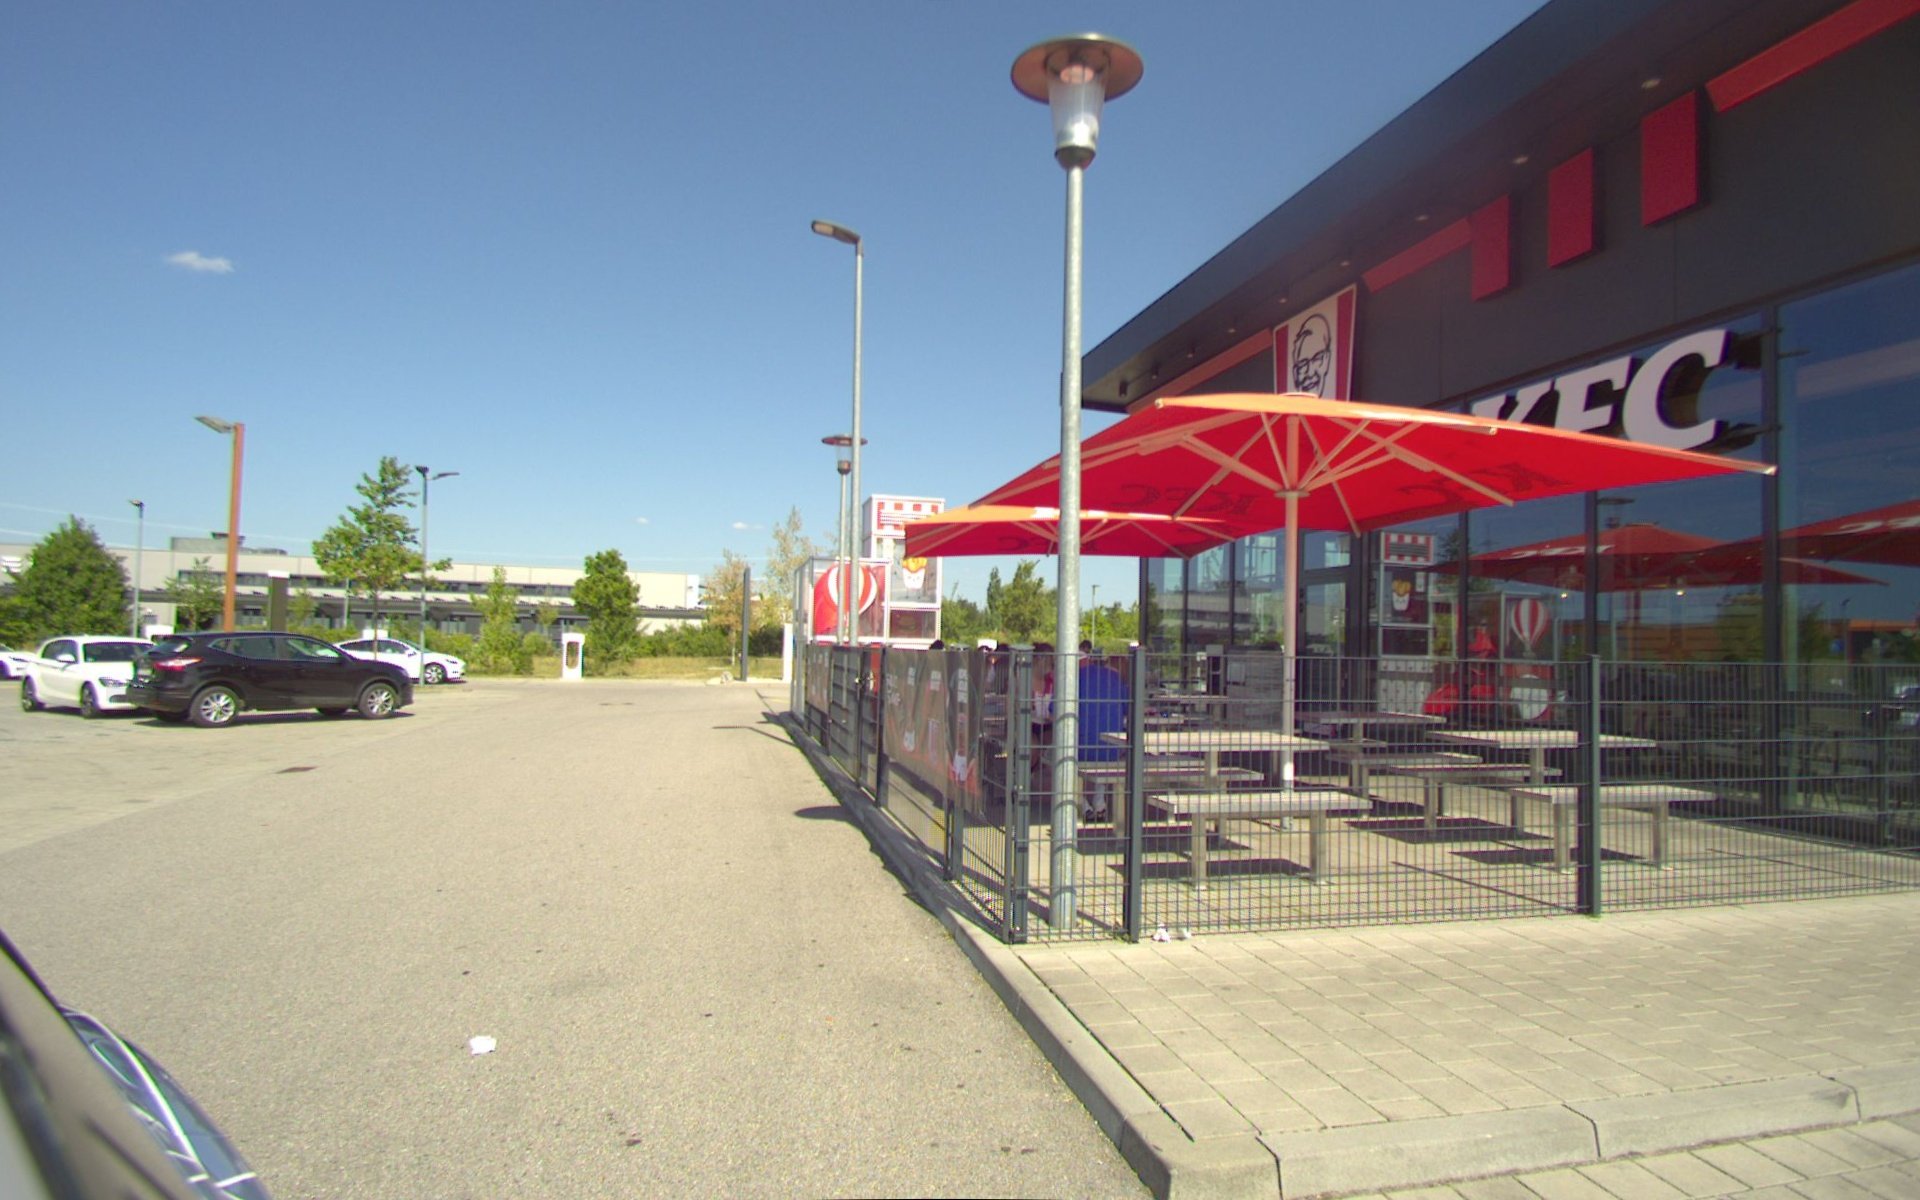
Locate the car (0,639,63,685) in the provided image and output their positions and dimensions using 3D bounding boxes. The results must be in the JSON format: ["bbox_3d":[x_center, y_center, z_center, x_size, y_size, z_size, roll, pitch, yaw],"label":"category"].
[{"bbox_3d":[-32.492,2.003,33.129,4.261,1.490,1.847,1,-3,-13],"label":"car"}]

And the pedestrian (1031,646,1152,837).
[{"bbox_3d":[0.938,0.973,7.266,0.603,1.283,0.626,2,-3,-30],"label":"pedestrian"}]

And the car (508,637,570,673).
[{"bbox_3d":[-21.323,2.788,51.392,1.888,1.763,4.264,1,-3,-9],"label":"car"}]

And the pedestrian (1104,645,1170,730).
[{"bbox_3d":[2.858,1.398,16.396,0.742,1.322,0.947,1,-3,-13],"label":"pedestrian"}]

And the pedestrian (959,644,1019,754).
[{"bbox_3d":[0.351,1.210,12.568,0.655,1.314,0.688,1,-3,-5],"label":"pedestrian"}]

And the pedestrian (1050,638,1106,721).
[{"bbox_3d":[2.121,1.413,18.232,0.785,1.454,0.695,1,-3,-15],"label":"pedestrian"}]

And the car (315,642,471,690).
[{"bbox_3d":[-19.894,2.320,35.727,4.498,1.605,1.848,2,-3,-17],"label":"car"}]

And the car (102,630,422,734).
[{"bbox_3d":[-12.163,1.398,17.931,1.852,1.603,4.255,-1,-4,33],"label":"car"}]

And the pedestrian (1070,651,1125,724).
[{"bbox_3d":[2.360,1.495,17.467,0.742,1.209,0.696,1,-3,-13],"label":"pedestrian"}]

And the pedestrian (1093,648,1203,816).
[{"bbox_3d":[1.510,1.030,8.175,0.674,1.283,0.553,2,-3,-30],"label":"pedestrian"}]

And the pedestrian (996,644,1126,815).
[{"bbox_3d":[0.805,1.002,8.187,0.674,1.283,0.844,2,-3,-30],"label":"pedestrian"}]

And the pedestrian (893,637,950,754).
[{"bbox_3d":[-0.493,1.163,12.557,0.655,1.398,0.808,1,-3,-5],"label":"pedestrian"}]

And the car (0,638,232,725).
[{"bbox_3d":[-15.989,1.469,19.151,4.189,1.471,1.956,-1,-3,29],"label":"car"}]

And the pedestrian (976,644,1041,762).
[{"bbox_3d":[0.548,1.173,11.728,0.655,1.314,0.713,1,-3,-5],"label":"pedestrian"}]
